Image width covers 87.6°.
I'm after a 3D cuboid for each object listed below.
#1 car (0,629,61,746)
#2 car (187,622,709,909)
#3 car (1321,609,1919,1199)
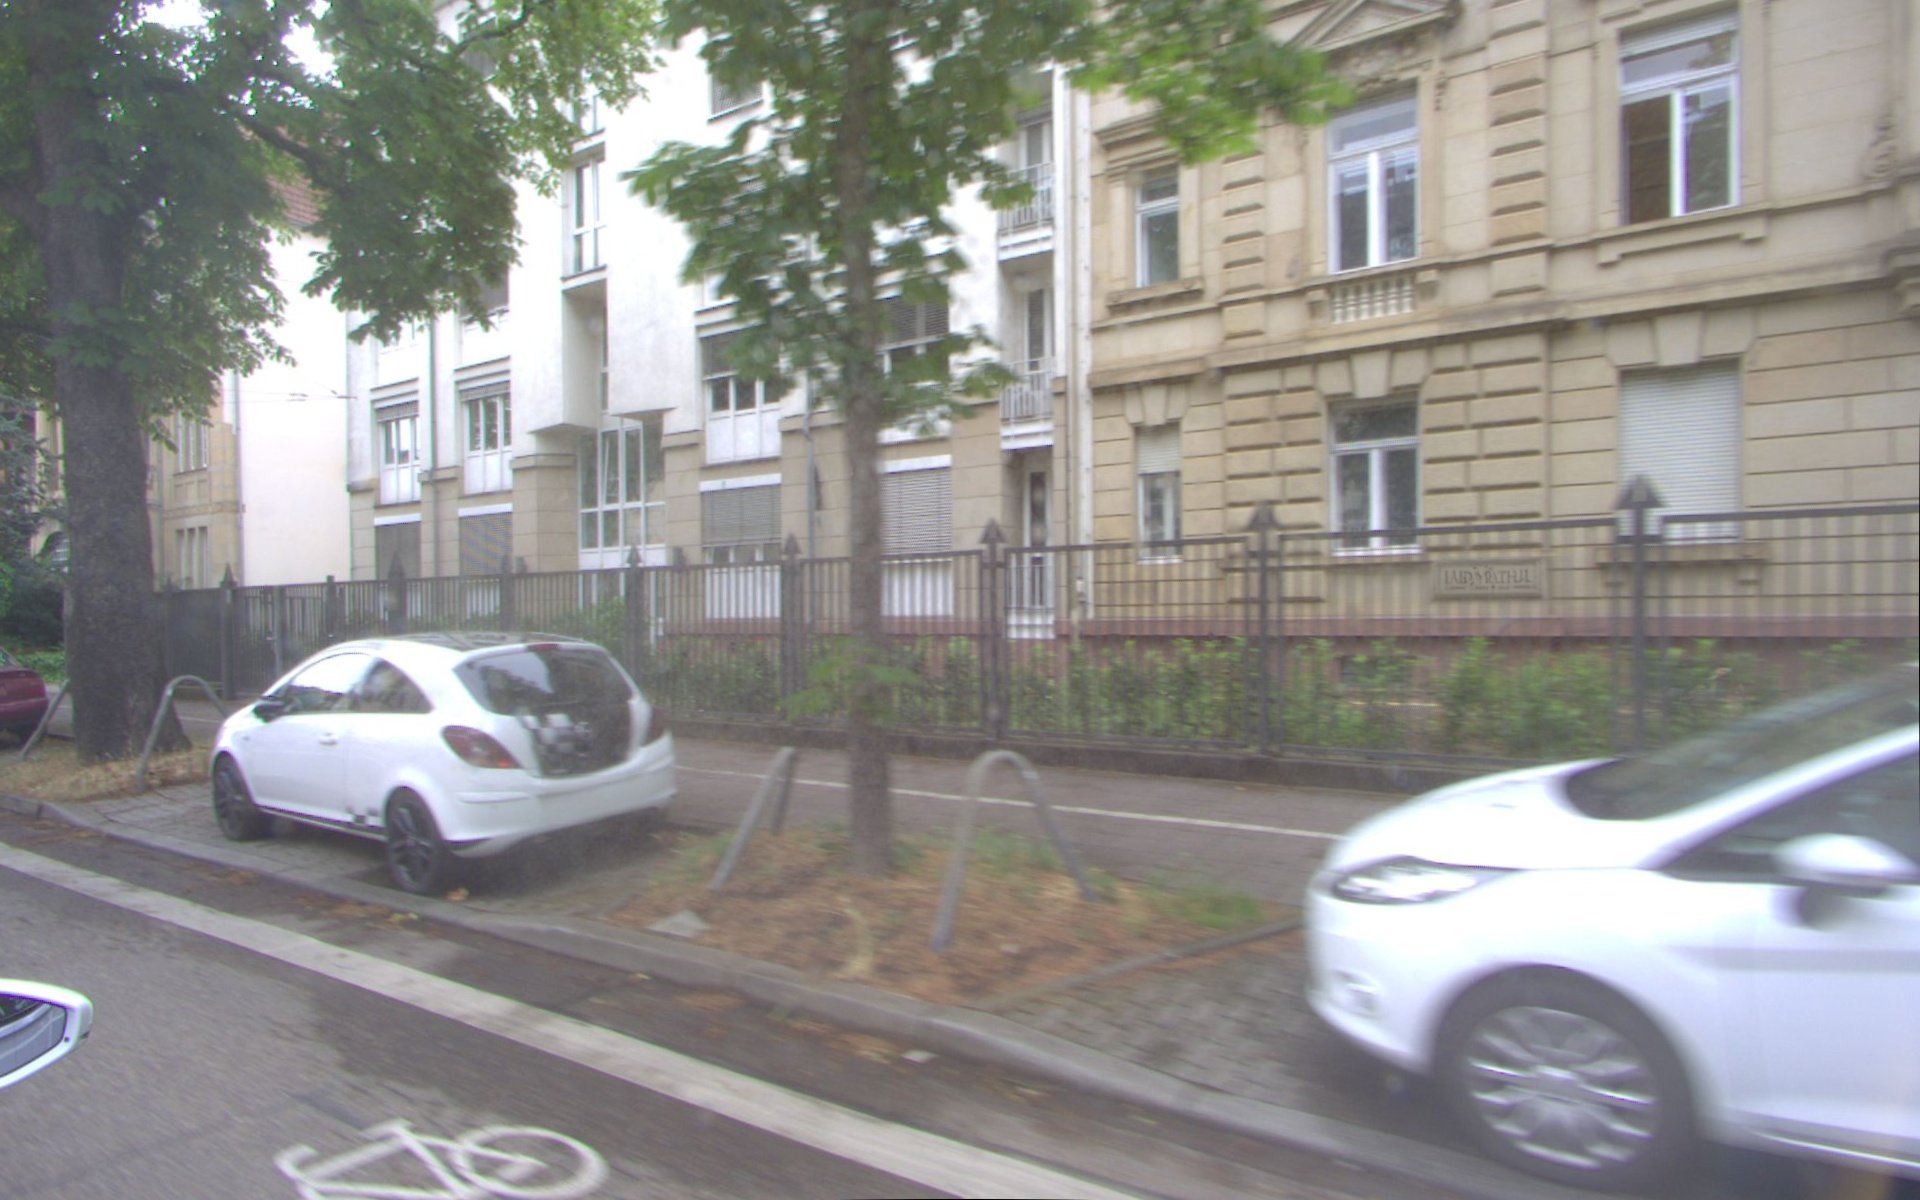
[{"bbox_3d":[-13.780,1.137,13.328,4.167,1.418,1.598,-1,2,32],"label":"car"},{"bbox_3d":[-3.673,0.918,7.017,3.724,1.455,1.598,-1,2,33],"label":"car"},{"bbox_3d":[3.067,0.779,2.665,3.711,1.455,1.623,-1,2,32],"label":"car"}]
